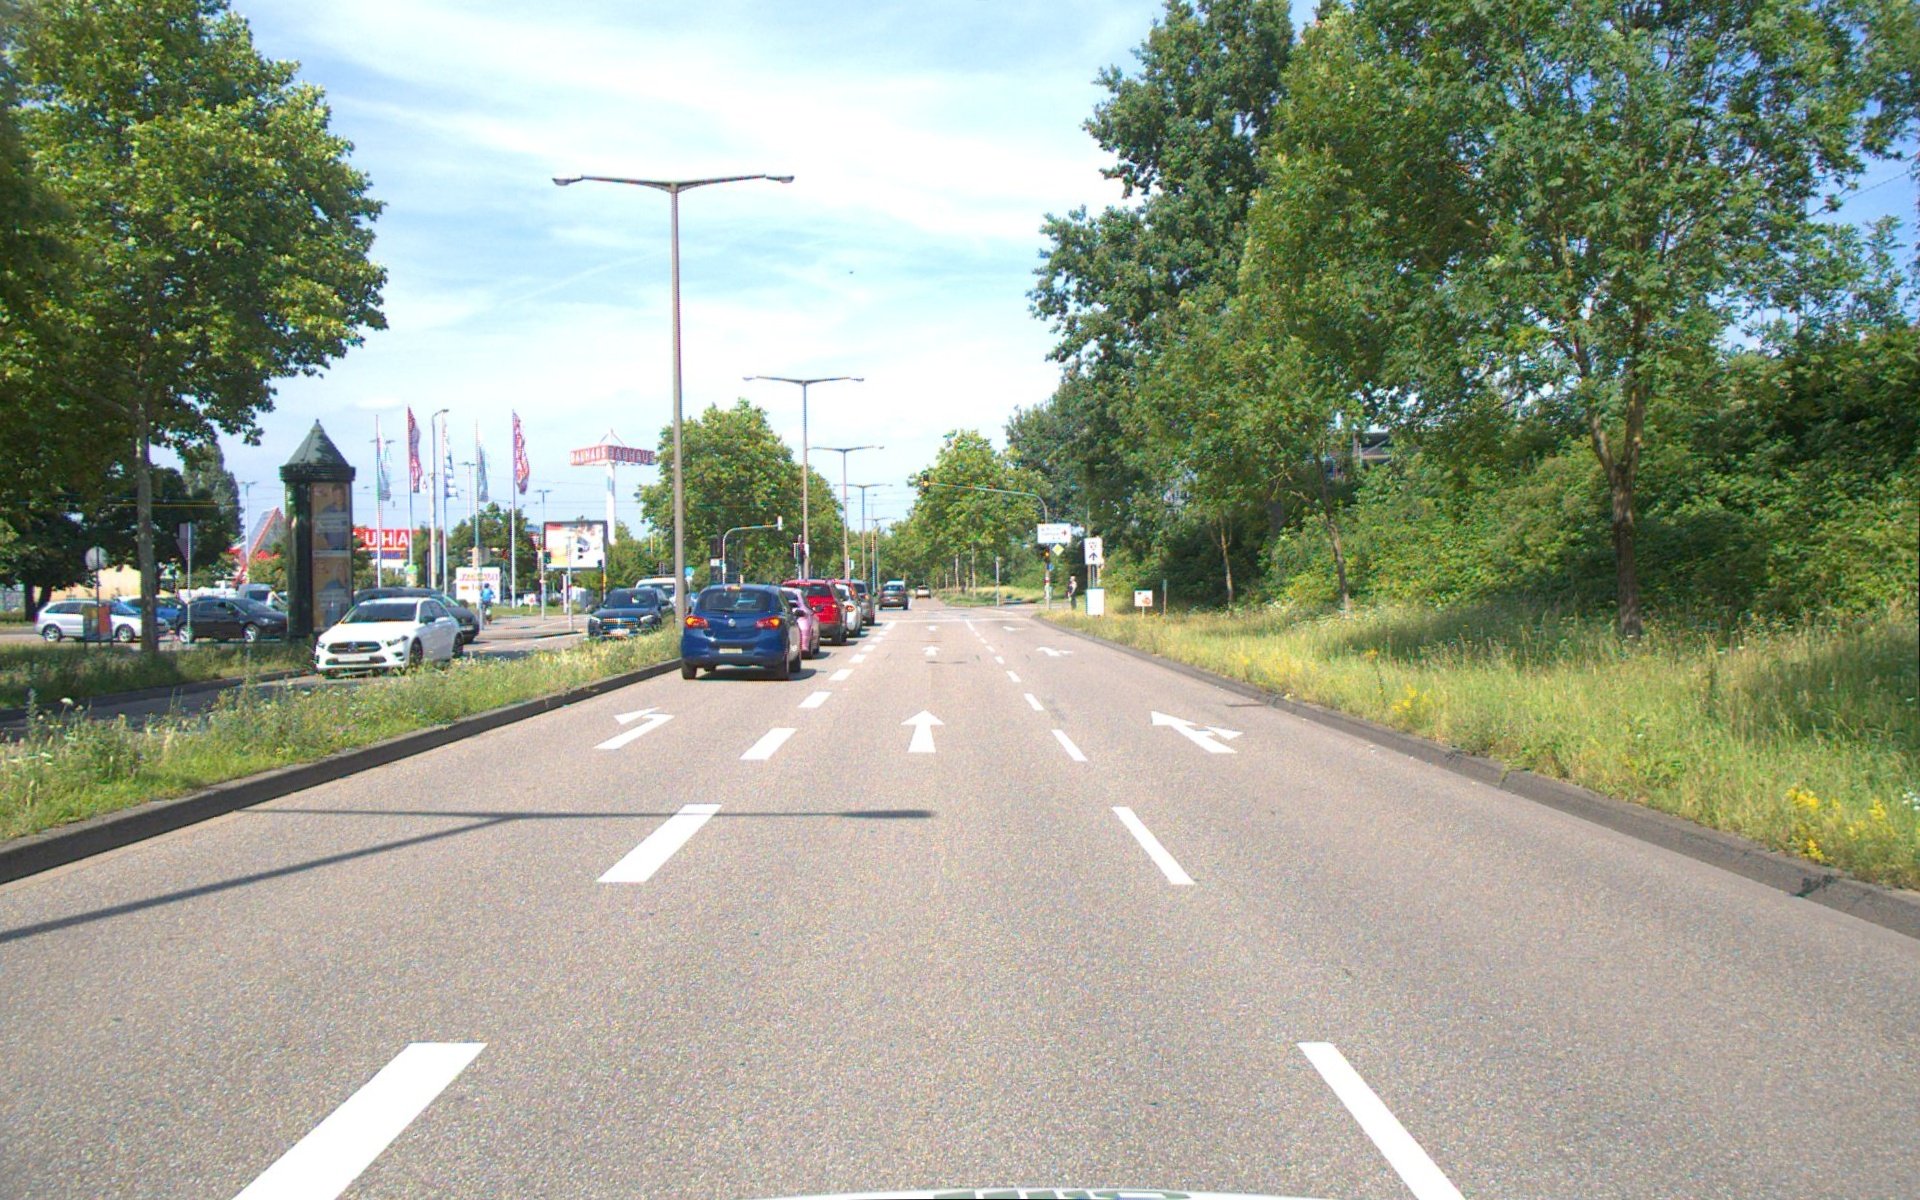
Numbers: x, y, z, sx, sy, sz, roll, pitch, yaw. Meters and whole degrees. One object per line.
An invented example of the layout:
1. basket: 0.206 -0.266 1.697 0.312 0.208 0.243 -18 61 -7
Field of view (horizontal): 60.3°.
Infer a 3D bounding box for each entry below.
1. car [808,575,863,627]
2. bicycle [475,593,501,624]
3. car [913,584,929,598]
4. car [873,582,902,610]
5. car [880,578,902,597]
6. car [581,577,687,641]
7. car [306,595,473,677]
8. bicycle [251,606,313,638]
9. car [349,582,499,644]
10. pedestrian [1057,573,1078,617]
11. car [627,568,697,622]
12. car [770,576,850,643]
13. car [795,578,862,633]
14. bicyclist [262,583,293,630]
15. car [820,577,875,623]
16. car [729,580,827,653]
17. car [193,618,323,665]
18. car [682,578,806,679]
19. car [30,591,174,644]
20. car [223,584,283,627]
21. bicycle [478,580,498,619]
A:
1. car: -4.086 0.048 54.777 1.595 1.623 3.916 -1 0 -2
2. bicycle: -20.320 0.349 71.186 0.659 1.278 2.244 -1 0 -6
3. car: -4.460 -1.032 188.812 1.830 1.601 3.999 -2 0 -1
4. car: -4.511 -0.246 103.551 1.701 1.562 4.001 0 3 -1
5. car: -6.616 -1.202 159.792 1.953 1.738 4.263 -1 0 -1
6. car: -8.685 0.213 44.403 1.953 1.557 4.681 -2 0 -1
7. car: -10.991 0.645 32.189 1.751 1.422 4.358 -2 0 -1
8. bicycle: -25.242 0.809 61.594 1.989 1.057 0.735 -2 3 -38
9. car: -16.255 0.395 50.130 4.301 1.781 1.866 -1 0 29
10. pedestrian: 4.897 -0.237 75.445 0.821 1.966 0.771 0 2 -5
11. car: -11.990 -0.222 66.908 1.953 2.049 5.212 -1 1 -1
12. car: -3.752 0.200 41.994 1.746 1.620 4.592 0 1 -2
13. car: -3.796 0.132 48.287 1.730 1.505 4.134 1 1 -2
14. bicyclist: -25.379 0.233 61.479 0.890 1.675 0.778 -2 3 -37
15. car: -4.146 -0.007 61.437 1.843 1.646 4.211 0 0 -2
16. car: -3.763 0.304 34.833 1.668 1.414 4.471 1 1 -2
17. car: -22.886 1.345 53.913 3.908 1.412 1.764 -1 2 26
18. car: -3.475 0.417 27.210 1.593 1.509 4.047 1 1 -2
19. car: -28.797 0.582 55.545 4.061 1.631 1.724 -1 0 11
20. car: -44.717 0.340 104.557 1.986 2.577 4.563 -2 1 -45
21. bicycle: -20.336 -0.011 71.261 0.659 1.643 0.991 -1 0 -6
